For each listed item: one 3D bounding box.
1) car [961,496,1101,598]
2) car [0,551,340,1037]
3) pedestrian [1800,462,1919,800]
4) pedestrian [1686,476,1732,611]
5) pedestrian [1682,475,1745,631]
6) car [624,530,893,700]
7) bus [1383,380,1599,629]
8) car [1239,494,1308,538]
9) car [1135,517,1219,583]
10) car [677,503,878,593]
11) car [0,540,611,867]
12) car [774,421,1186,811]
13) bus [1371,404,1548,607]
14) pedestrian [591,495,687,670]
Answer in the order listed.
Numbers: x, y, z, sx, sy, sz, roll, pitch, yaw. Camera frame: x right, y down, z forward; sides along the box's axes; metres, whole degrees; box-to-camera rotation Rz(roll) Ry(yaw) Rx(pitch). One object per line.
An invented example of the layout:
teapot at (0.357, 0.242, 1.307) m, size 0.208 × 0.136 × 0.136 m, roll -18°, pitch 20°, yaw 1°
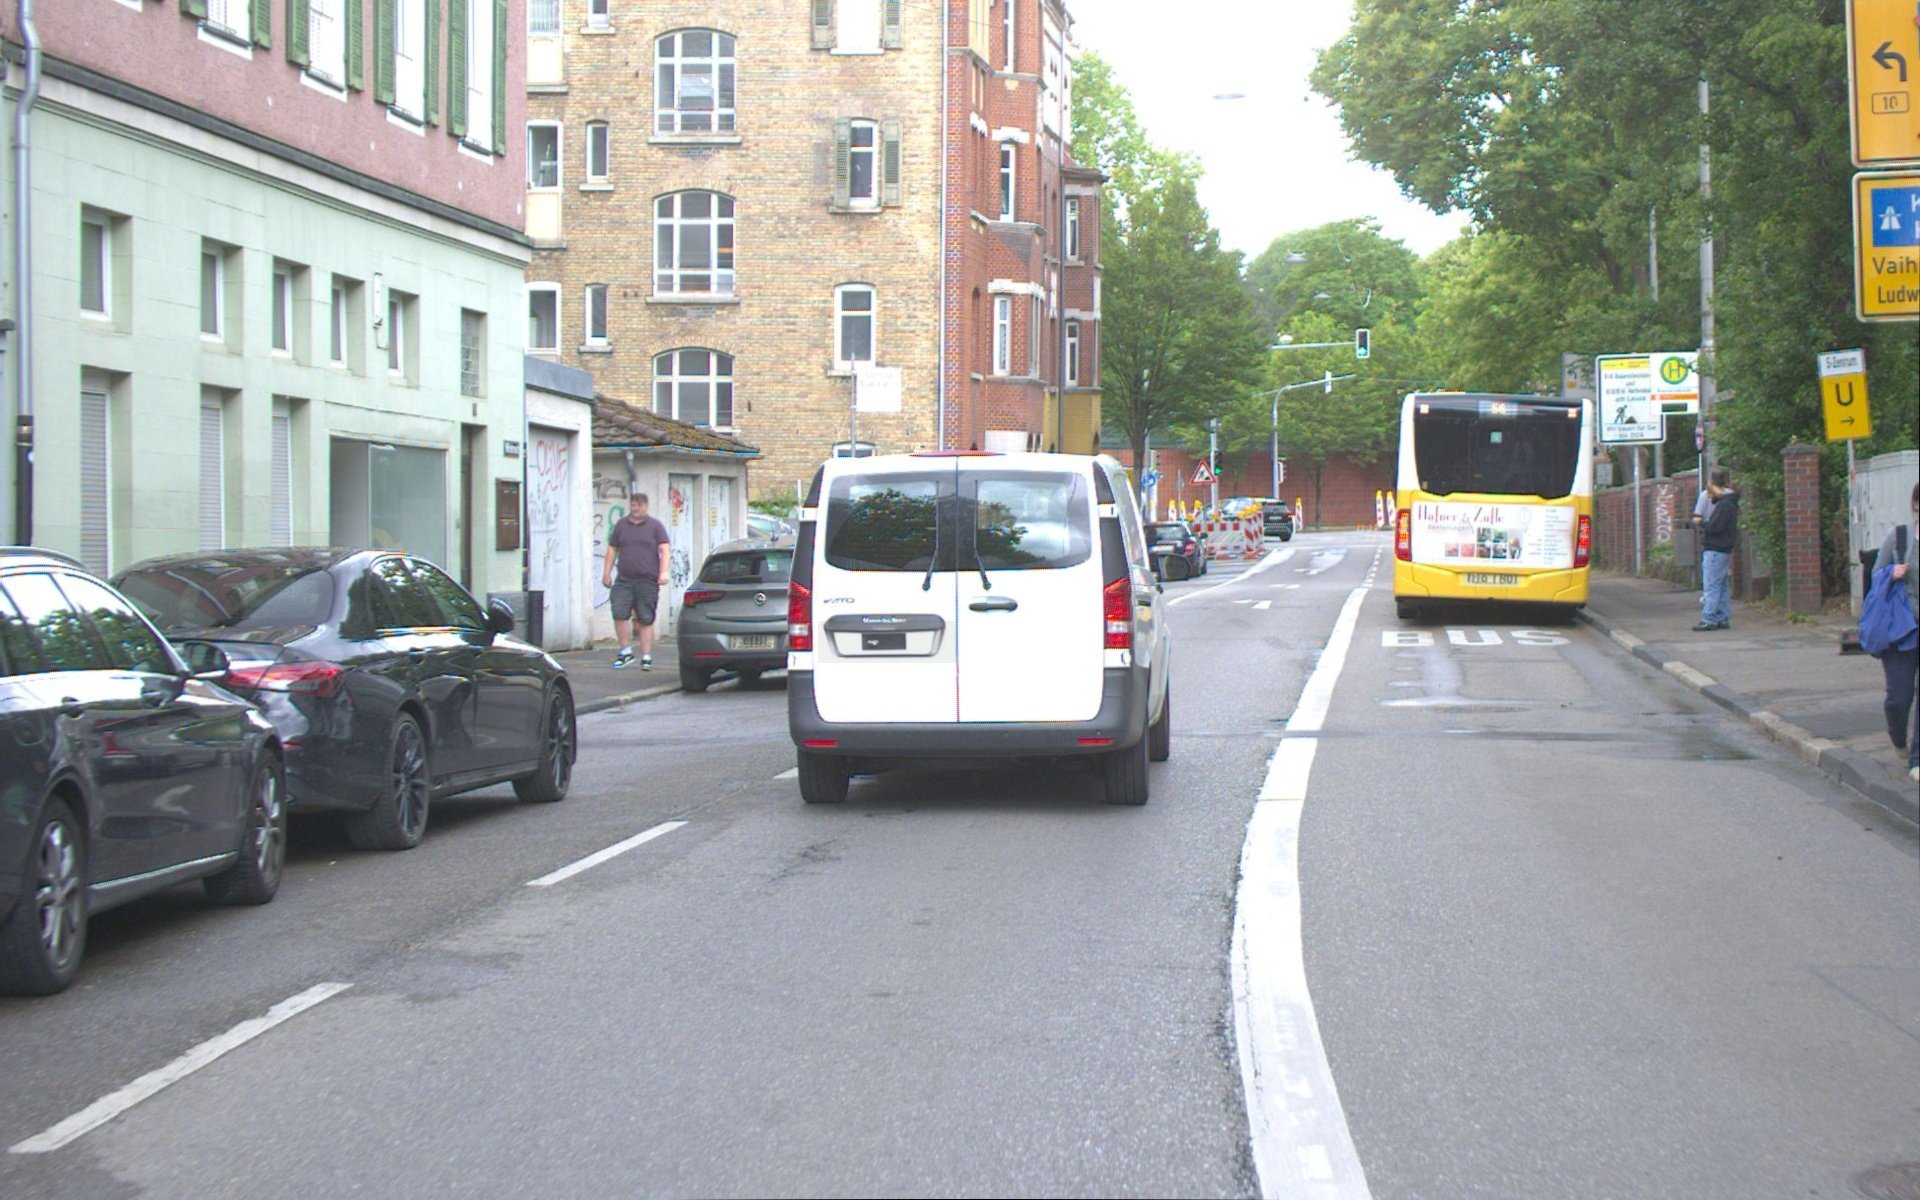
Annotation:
car at (1.306, -0.972, 60.867) m, size 1.954 × 1.728 × 4.773 m, roll 0°, pitch 2°, yaw 7°
car at (-3.666, 0.562, 12.286) m, size 1.829 × 1.450 × 4.584 m, roll 0°, pitch 1°, yaw 3°
pedestrian at (5.160, 0.147, 18.898) m, size 0.803 × 1.787 × 0.943 m, roll -3°, pitch 2°, yaw 1°
pedestrian at (10.044, -0.763, 46.107) m, size 0.450 × 1.773 × 0.672 m, roll -3°, pitch 1°, yaw 7°
pedestrian at (8.691, -0.543, 39.675) m, size 0.582 × 1.773 × 0.821 m, roll 2°, pitch 1°, yaw 7°
car at (-1.915, 0.096, 33.869) m, size 1.878 × 1.481 × 4.126 m, roll 2°, pitch 2°, yaw 7°
bus at (7.516, -1.358, 49.277) m, size 2.663 × 3.125 × 10.037 m, roll 2°, pitch 2°, yaw 8°
car at (11.369, -3.067, 124.977) m, size 2.036 × 1.480 × 4.391 m, roll 0°, pitch 3°, yaw -1°
car at (5.528, -1.290, 87.184) m, size 1.725 × 1.480 × 4.389 m, roll 0°, pitch 3°, yaw 9°
car at (-3.524, -1.015, 66.837) m, size 3.597 × 1.606 × 1.688 m, roll -2°, pitch 1°, yaw 8°
car at (-3.294, 0.436, 17.791) m, size 1.829 × 1.450 × 4.920 m, roll 0°, pitch 1°, yaw 8°
car at (0.253, 0.094, 19.686) m, size 1.917 × 1.895 × 4.700 m, roll 2°, pitch 0°, yaw 5°
bus at (8.517, -1.611, 58.896) m, size 2.672 × 3.127 × 9.215 m, roll 2°, pitch 2°, yaw 8°
pedestrian at (-3.263, -0.181, 35.004) m, size 0.761 × 1.738 × 0.984 m, roll 2°, pitch 0°, yaw 5°
